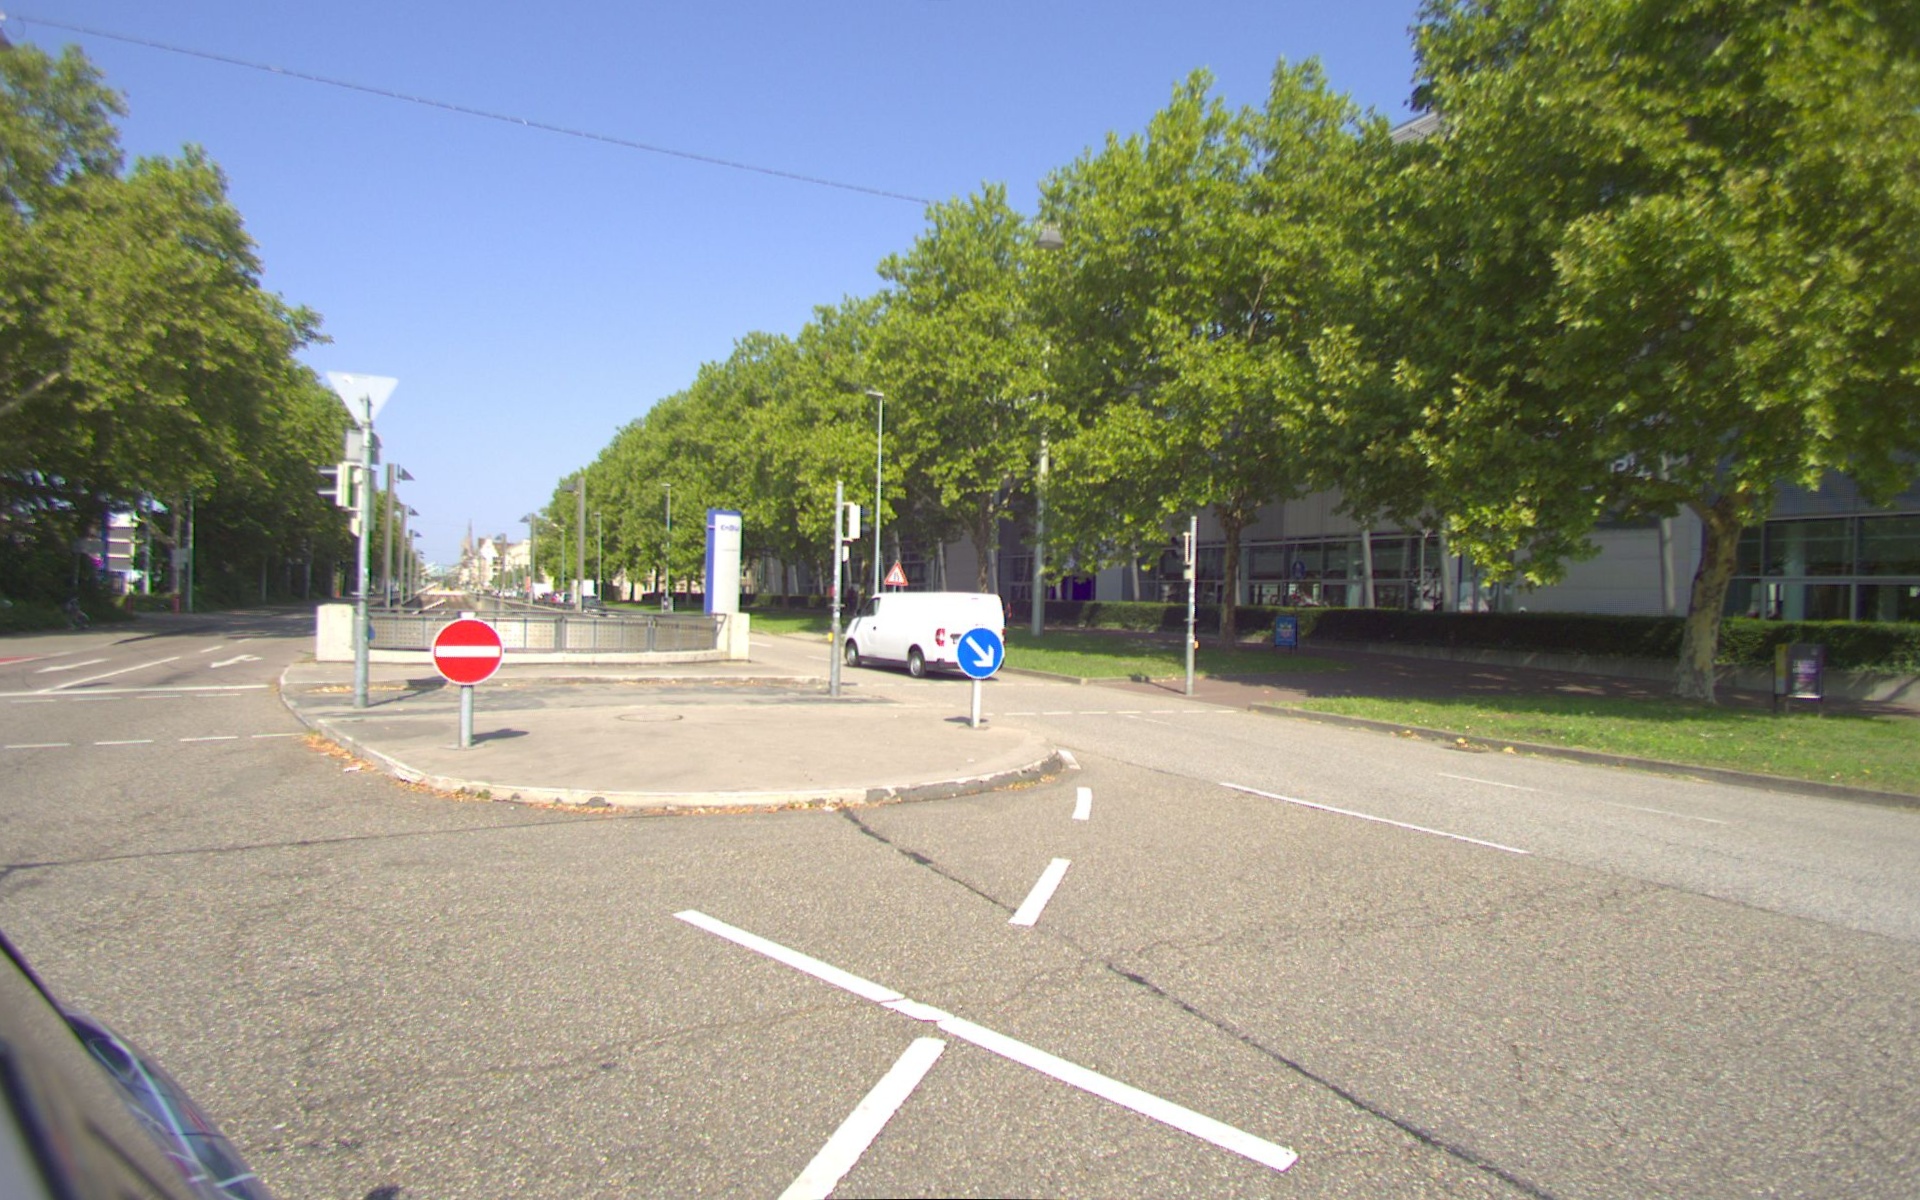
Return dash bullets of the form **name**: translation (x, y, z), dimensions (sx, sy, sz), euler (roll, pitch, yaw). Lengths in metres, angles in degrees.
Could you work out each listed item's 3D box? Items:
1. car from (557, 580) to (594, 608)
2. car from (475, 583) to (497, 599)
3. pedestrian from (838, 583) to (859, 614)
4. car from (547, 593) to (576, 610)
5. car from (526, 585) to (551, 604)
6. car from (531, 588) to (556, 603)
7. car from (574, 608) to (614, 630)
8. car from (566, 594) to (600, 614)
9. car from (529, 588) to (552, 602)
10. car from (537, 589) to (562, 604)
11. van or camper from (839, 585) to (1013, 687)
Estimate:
- **car**: translation (-32.551, -0.510, 85.636), dimensions (2.253, 2.249, 4.671), euler (-1, 1, -29)
- **car**: translation (-61.334, -1.144, 130.877), dimensions (1.966, 2.029, 4.011), euler (-1, 1, -33)
- **pedestrian**: translation (-7.345, -0.103, 66.472), dimensions (0.932, 2.029, 1.353), euler (-1, 1, -26)
- **car**: translation (-37.340, 0.107, 94.727), dimensions (1.966, 1.464, 4.013), euler (-1, 1, -29)
- **car**: translation (-50.039, -0.665, 120.046), dimensions (2.253, 2.095, 4.671), euler (-1, 1, -29)
- **car**: translation (-44.943, -0.501, 109.186), dimensions (1.966, 1.464, 4.013), euler (-1, 1, -29)
- **car**: translation (-22.533, 1.151, 62.228), dimensions (1.633, 1.230, 3.906), euler (-1, 1, -30)
- **car**: translation (-30.255, 0.323, 81.211), dimensions (1.966, 1.464, 4.013), euler (-1, 1, -29)
- **car**: translation (-47.645, -0.598, 114.999), dimensions (1.966, 1.464, 4.013), euler (-1, 1, -29)
- **car**: translation (-42.697, -0.392, 105.227), dimensions (1.966, 1.464, 4.013), euler (-1, 1, -29)
- **van or camper**: translation (-0.938, 0.722, 23.490), dimensions (1.815, 1.961, 4.963), euler (1, 2, -31)
